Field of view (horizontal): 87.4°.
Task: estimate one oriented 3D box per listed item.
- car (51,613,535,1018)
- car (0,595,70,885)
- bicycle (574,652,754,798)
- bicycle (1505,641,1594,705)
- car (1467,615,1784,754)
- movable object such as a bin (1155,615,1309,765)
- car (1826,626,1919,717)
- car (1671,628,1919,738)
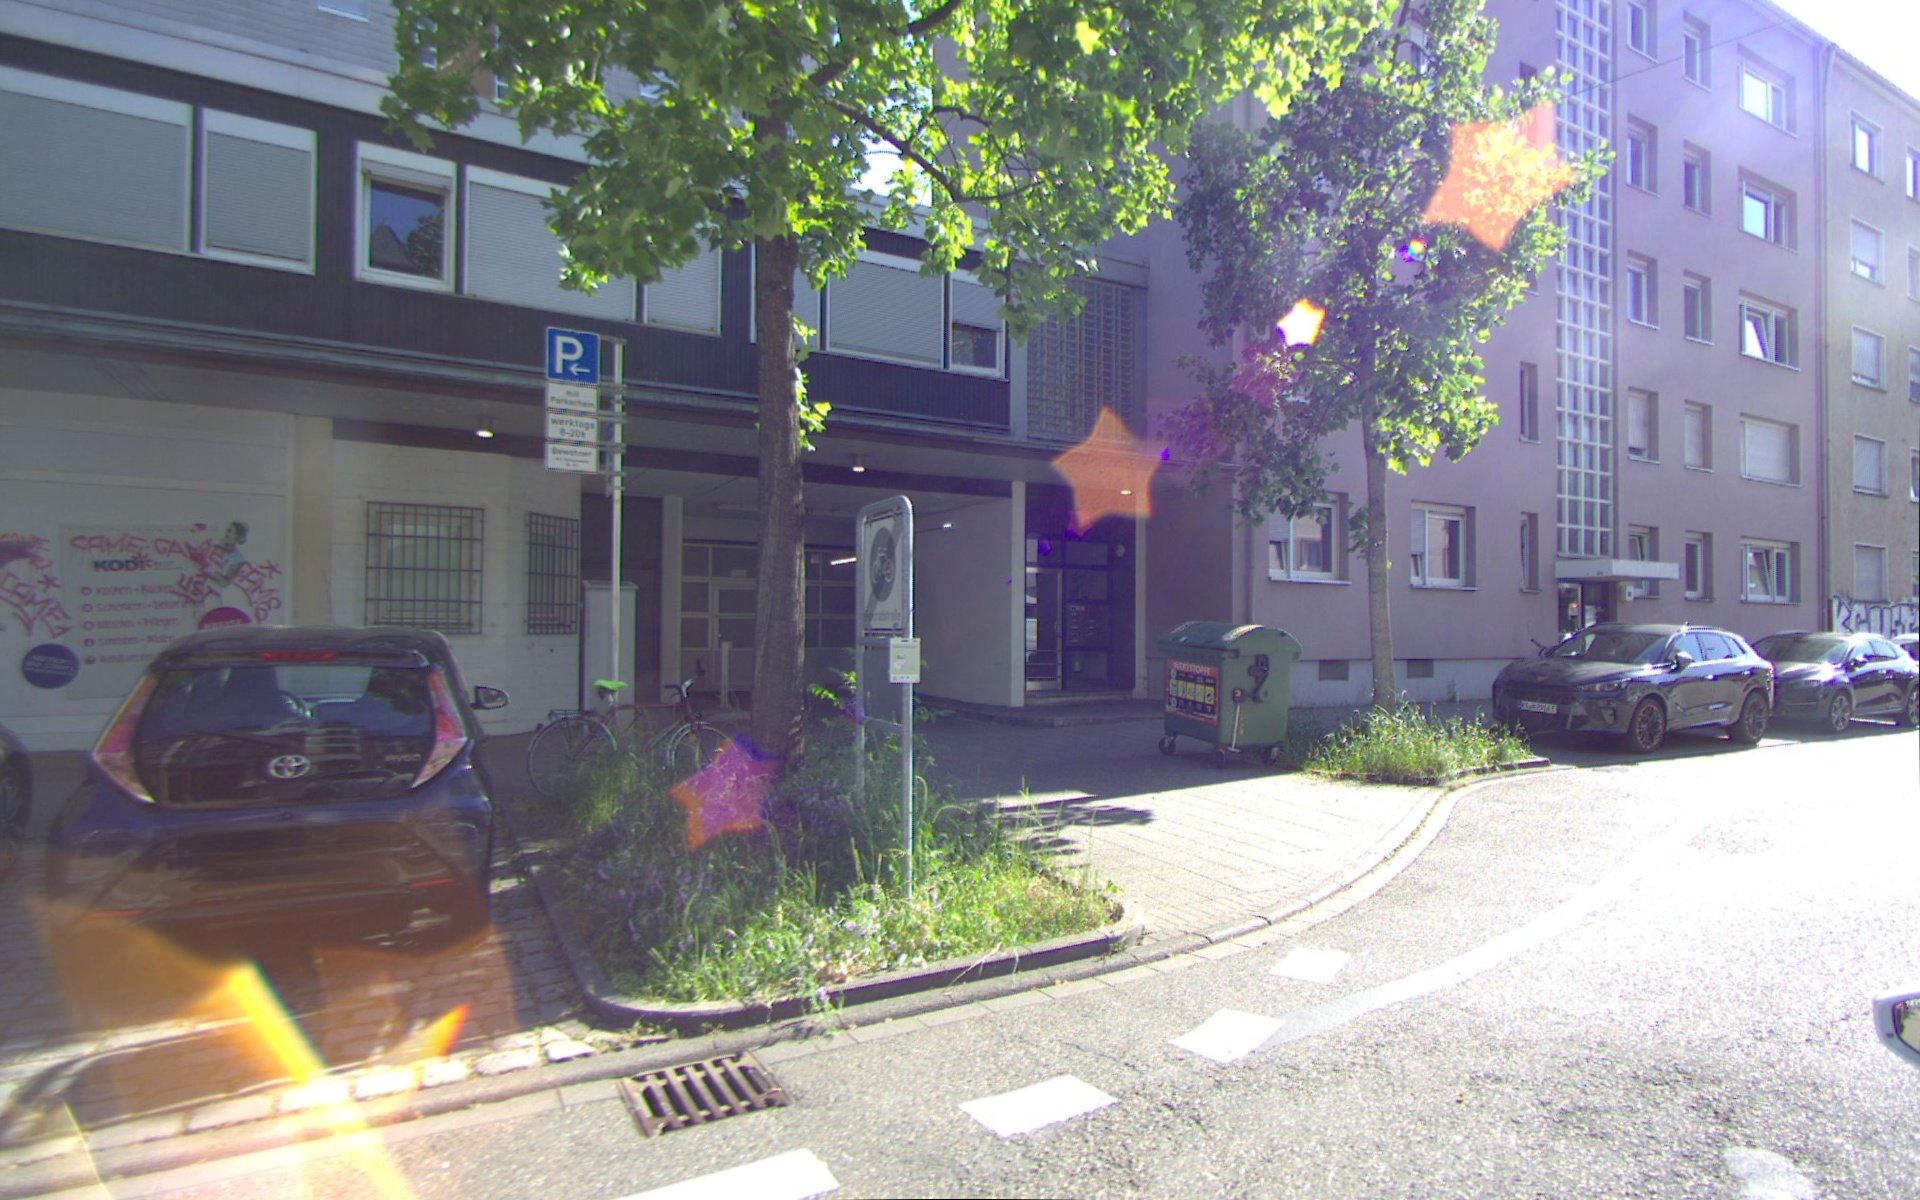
[{"bbox_3d":[-3.638,0.834,5.978,1.624,1.452,4.287,1,-1,-29],"label":"car"},{"bbox_3d":[-5.152,0.710,3.676,1.739,1.479,4.290,1,0,-27],"label":"car"},{"bbox_3d":[-2.413,0.983,8.237,1.329,1.092,0.463,1,-2,-33],"label":"bicycle"},{"bbox_3d":[10.805,1.322,18.408,1.880,1.116,0.552,1,-2,-30],"label":"bicycle"},{"bbox_3d":[9.251,1.069,13.909,4.311,1.627,1.869,1,0,-29],"label":"car"},{"bbox_3d":[2.851,0.910,10.640,1.060,1.469,1.228,1,-2,-21],"label":"movable object such as a bin"},{"bbox_3d":[18.521,1.308,19.060,4.571,1.517,1.713,1,1,-30],"label":"car"},{"bbox_3d":[14.086,1.287,16.705,4.175,1.517,1.985,1,1,-28],"label":"car"}]
